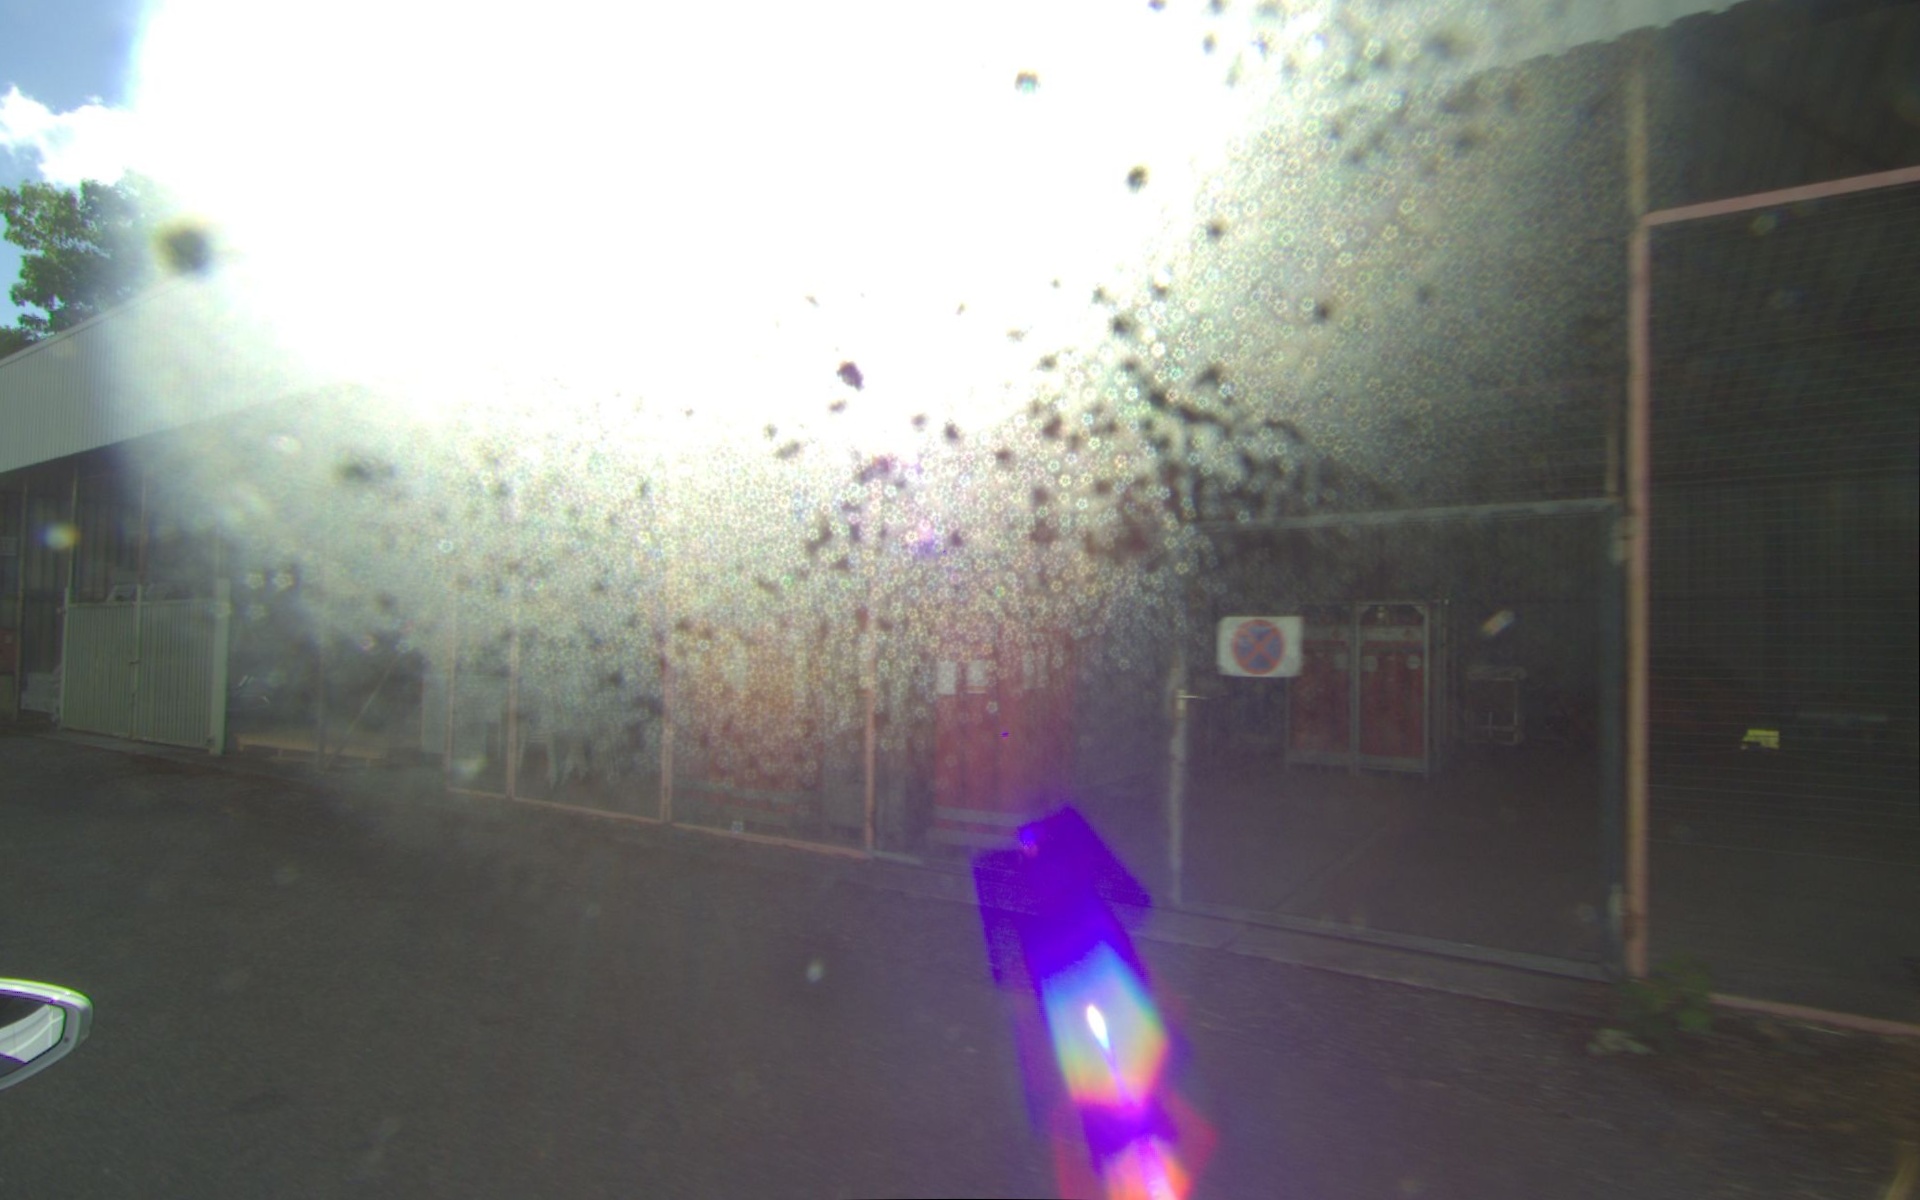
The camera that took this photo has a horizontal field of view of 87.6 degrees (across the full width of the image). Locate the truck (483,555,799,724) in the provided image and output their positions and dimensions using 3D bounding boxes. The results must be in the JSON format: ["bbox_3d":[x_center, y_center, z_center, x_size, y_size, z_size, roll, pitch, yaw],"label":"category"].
[{"bbox_3d":[-5.850,0.788,19.216,2.333,2.740,5.558,0,-3,33],"label":"truck"}]

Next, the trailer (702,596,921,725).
[{"bbox_3d":[-2.731,1.106,18.933,2.431,2.165,3.397,-1,-3,35],"label":"trailer"}]

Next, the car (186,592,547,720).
[{"bbox_3d":[-10.372,1.020,18.044,2.243,1.941,5.166,-1,-4,28],"label":"car"}]
